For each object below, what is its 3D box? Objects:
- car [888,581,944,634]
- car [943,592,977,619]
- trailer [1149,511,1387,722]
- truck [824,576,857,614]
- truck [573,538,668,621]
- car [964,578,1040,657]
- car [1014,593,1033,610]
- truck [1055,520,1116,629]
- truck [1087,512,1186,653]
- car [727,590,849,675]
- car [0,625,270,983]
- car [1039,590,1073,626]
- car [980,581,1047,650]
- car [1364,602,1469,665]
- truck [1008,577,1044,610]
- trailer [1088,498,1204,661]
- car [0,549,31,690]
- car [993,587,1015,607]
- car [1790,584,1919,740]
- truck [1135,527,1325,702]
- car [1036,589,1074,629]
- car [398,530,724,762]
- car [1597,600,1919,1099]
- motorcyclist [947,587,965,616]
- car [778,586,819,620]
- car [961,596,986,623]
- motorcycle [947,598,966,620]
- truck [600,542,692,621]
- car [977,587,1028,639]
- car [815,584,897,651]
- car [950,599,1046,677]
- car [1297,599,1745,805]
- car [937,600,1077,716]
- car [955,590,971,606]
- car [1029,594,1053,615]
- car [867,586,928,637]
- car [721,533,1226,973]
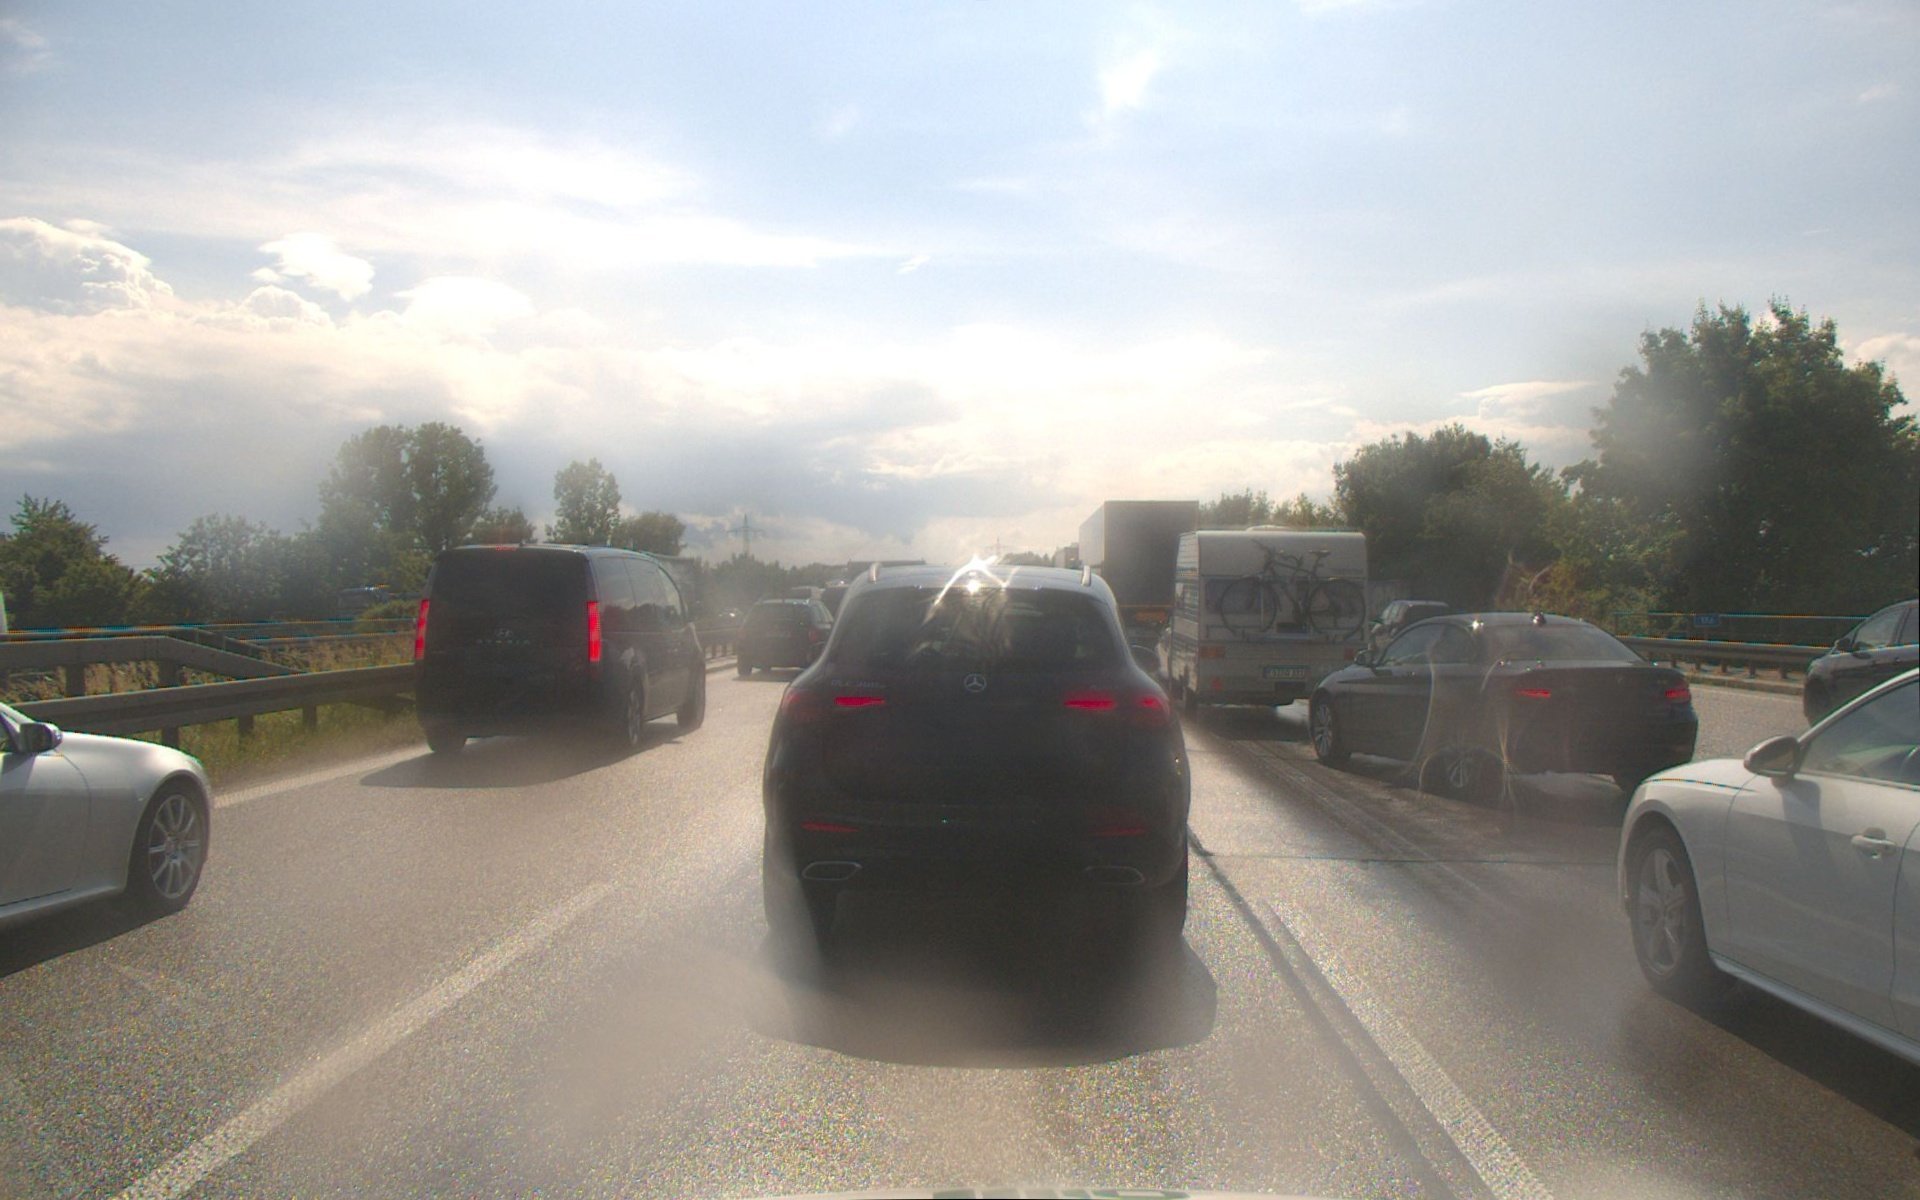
[{"bbox_3d":[-1.829,0.296,69.910,1.952,2.048,4.001,4,0,3],"label":"car"},{"bbox_3d":[0.030,0.388,110.579,1.952,1.644,4.001,4,0,3],"label":"car"},{"bbox_3d":[4.117,0.212,23.365,2.325,2.526,6.524,1,0,2],"label":"trailer"},{"bbox_3d":[-13.535,-0.523,187.995,2.942,4.175,7.688,-1,0,2],"label":"truck"},{"bbox_3d":[-16.588,-0.913,81.413,2.802,3.888,7.879,0,-1,2],"label":"truck"},{"bbox_3d":[1.183,0.458,45.307,1.952,2.049,4.001,1,0,3],"label":"car"},{"bbox_3d":[6.980,0.155,182.780,1.838,1.791,3.999,1,0,-1],"label":"car"},{"bbox_3d":[5.937,-1.154,79.149,2.450,4.914,7.544,1,0,1],"label":"truck"},{"bbox_3d":[5.577,-0.536,53.066,2.932,4.239,5.243,1,0,4],"label":"truck"},{"bbox_3d":[-3.267,0.583,32.215,1.720,1.543,4.210,0,0,3],"label":"car"},{"bbox_3d":[-4.438,0.783,6.430,1.688,1.300,4.064,0,0,2],"label":"car"},{"bbox_3d":[5.940,0.513,102.427,1.952,2.048,4.001,4,0,3],"label":"car"},{"bbox_3d":[1.780,0.489,53.908,1.952,2.048,4.001,4,0,3],"label":"car"},{"bbox_3d":[12.239,0.869,44.568,1.810,1.596,4.001,1,0,2],"label":"car"},{"bbox_3d":[8.284,-0.798,208.944,3.765,4.087,11.217,1,0,-2],"label":"truck"},{"bbox_3d":[5.174,-0.535,47.446,2.944,4.239,8.540,1,0,4],"label":"trailer"},{"bbox_3d":[-14.959,0.291,21.993,1.952,2.049,5.559,-1,0,1],"label":"car"},{"bbox_3d":[3.919,-0.254,148.308,1.838,1.791,3.999,1,0,-1],"label":"car"},{"bbox_3d":[11.069,0.664,18.205,1.783,1.649,4.365,1,0,2],"label":"car"},{"bbox_3d":[4.241,0.221,27.021,2.325,2.520,5.757,1,0,2],"label":"truck"},{"bbox_3d":[5.058,0.460,88.438,1.952,2.049,4.001,2,0,3],"label":"car"},{"bbox_3d":[-3.900,0.397,17.248,1.952,2.049,5.271,0,0,2],"label":"car"},{"bbox_3d":[3.699,0.747,4.932,1.789,1.450,4.510,1,-1,-1],"label":"car"},{"bbox_3d":[-0.213,0.077,100.150,1.042,1.748,0.785,0,0,2],"label":"motorcyclist"},{"bbox_3d":[-11.299,0.189,115.836,1.952,2.247,6.981,1,1,2],"label":"car"},{"bbox_3d":[1.118,0.792,140.413,1.953,2.048,4.000,4,0,0],"label":"car"},{"bbox_3d":[-0.215,0.530,100.165,1.051,1.293,2.691,0,0,2],"label":"motorcycle"},{"bbox_3d":[-16.429,-0.860,87.213,2.789,3.920,9.424,0,-1,2],"label":"truck"},{"bbox_3d":[1.724,0.512,66.612,1.952,2.049,4.001,0,0,3],"label":"car"},{"bbox_3d":[-2.880,0.475,46.540,1.952,1.750,4.000,1,0,1],"label":"car"},{"bbox_3d":[0.782,0.713,32.759,1.768,1.432,4.001,1,0,2],"label":"car"},{"bbox_3d":[4.608,0.755,14.345,1.815,1.490,4.244,0,0,-11],"label":"car"},{"bbox_3d":[0.679,0.707,22.239,1.720,1.411,3.946,0,0,3],"label":"car"},{"bbox_3d":[0.386,-0.286,213.215,1.953,2.049,3.999,1,0,0],"label":"car"},{"bbox_3d":[6.999,0.413,143.331,1.838,1.791,3.999,1,0,-1],"label":"car"},{"bbox_3d":[-2.345,0.438,63.008,1.952,1.803,4.001,2,0,3],"label":"car"},{"bbox_3d":[0.128,0.597,8.617,1.952,1.690,4.407,0,0,2],"label":"car"}]
